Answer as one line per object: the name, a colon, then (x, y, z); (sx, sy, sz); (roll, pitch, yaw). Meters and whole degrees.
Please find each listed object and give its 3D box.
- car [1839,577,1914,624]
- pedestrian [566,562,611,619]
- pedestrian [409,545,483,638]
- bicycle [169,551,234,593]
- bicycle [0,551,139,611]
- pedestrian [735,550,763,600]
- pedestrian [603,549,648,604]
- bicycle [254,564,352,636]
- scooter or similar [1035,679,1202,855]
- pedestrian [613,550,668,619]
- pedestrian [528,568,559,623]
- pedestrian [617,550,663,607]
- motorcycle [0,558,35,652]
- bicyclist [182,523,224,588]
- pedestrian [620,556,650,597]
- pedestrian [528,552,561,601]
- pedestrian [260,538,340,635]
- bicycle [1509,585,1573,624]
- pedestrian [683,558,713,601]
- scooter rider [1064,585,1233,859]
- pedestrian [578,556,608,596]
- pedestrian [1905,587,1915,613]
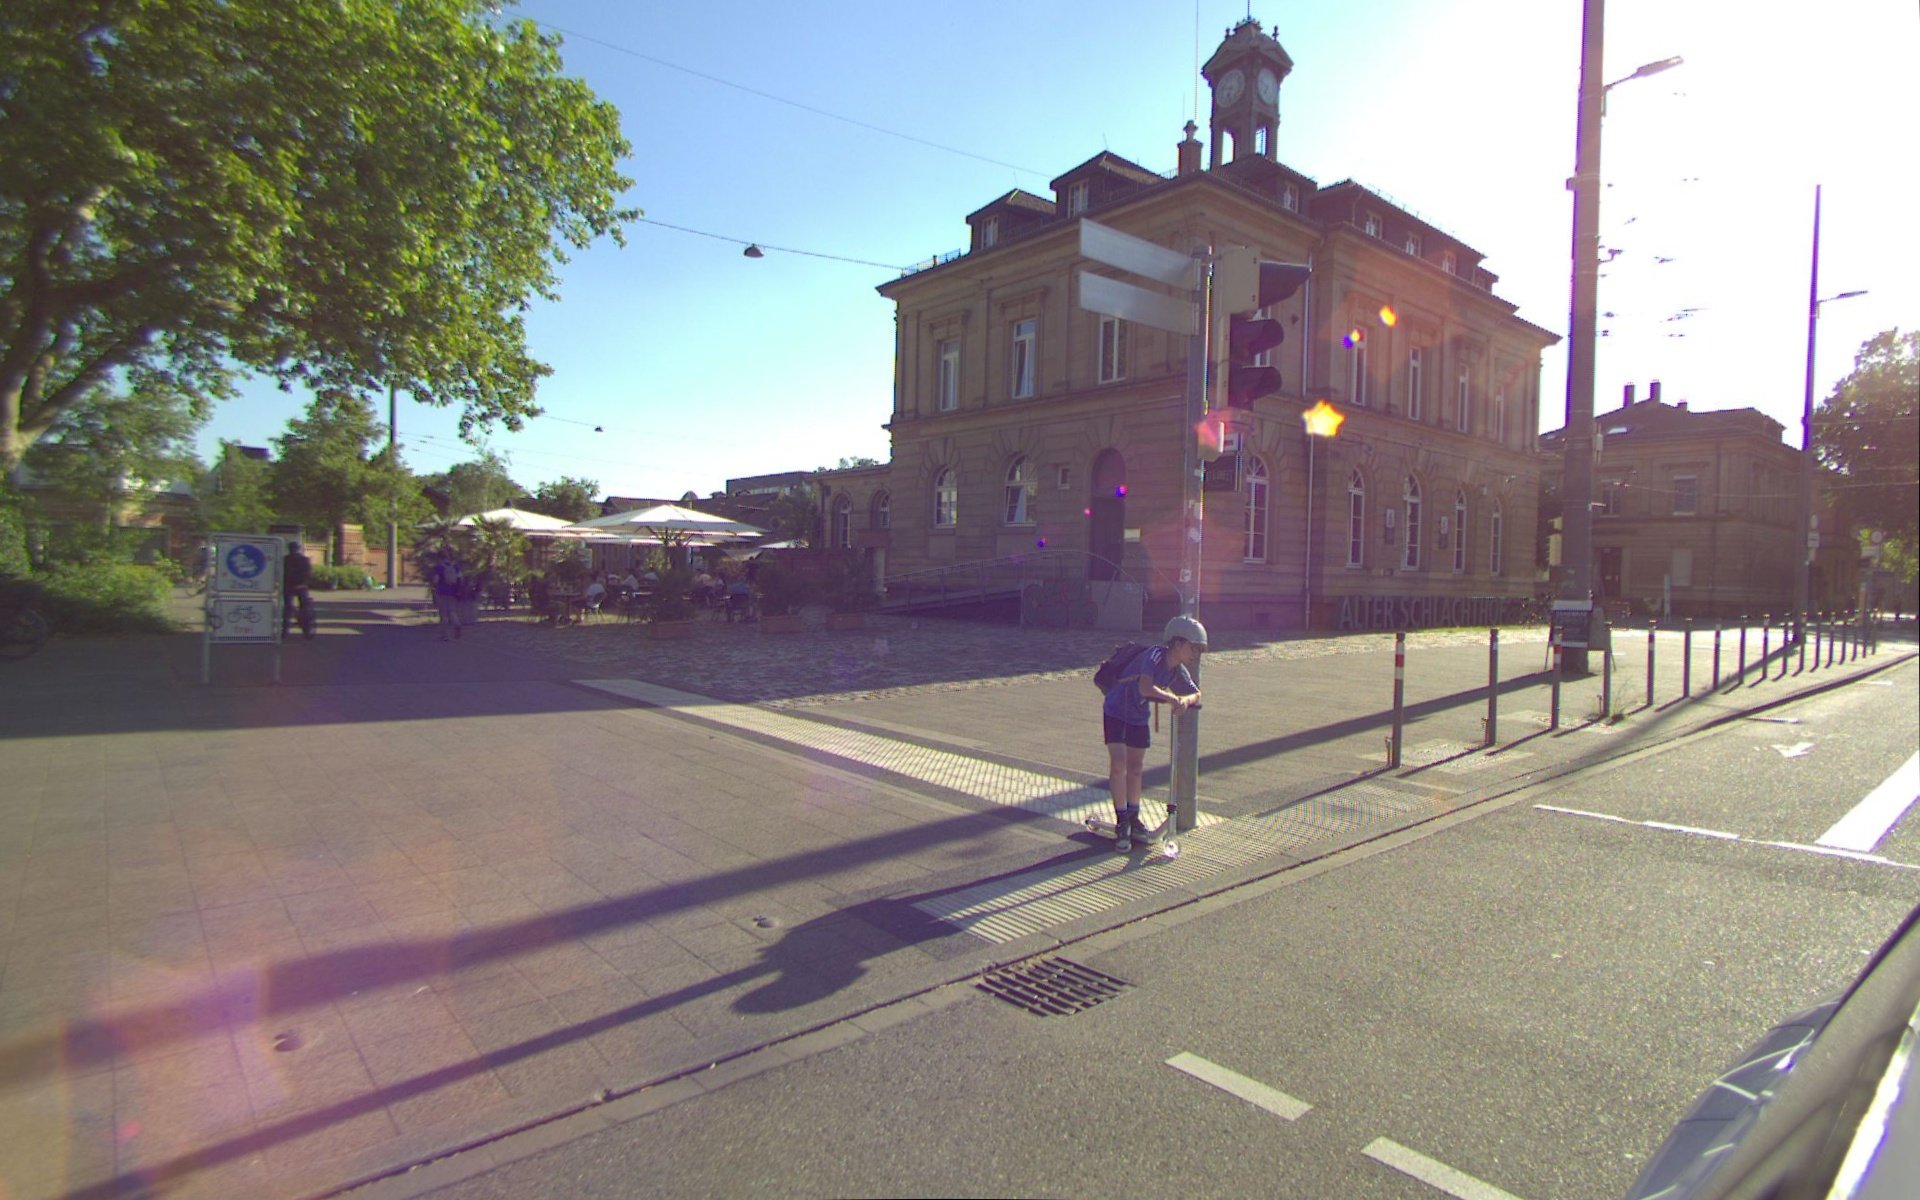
car: (42.746, -0.009, 47.169); (3.925, 2.072, 1.834); (0, 1, -37)
pedestrian: (-9.685, -0.251, 26.369); (0.978, 1.396, 0.775); (1, 3, -27)
pedestrian: (-10.558, -0.187, 20.783); (0.994, 1.810, 1.023); (4, 3, 39)
bicycle: (-24.347, -0.901, 32.460); (2.648, 1.294, 0.773); (1, 1, 32)
bicycle: (-20.268, -0.435, 22.860); (2.625, 1.294, 0.780); (-1, 1, -45)
pedestrian: (-7.808, -0.925, 37.436); (0.653, 1.765, 0.838); (0, 3, -43)
pedestrian: (-11.139, -0.786, 33.747); (0.984, 1.765, 1.034); (3, 3, 13)
bicycle: (-12.591, -0.033, 19.364); (2.655, 1.294, 0.771); (2, 1, 38)
scooter or similar: (0.887, 0.923, 5.835); (0.260, 0.821, 1.023); (1, 2, -39)
pedestrian: (-8.427, -0.423, 26.706); (1.021, 1.766, 0.996); (2, 2, 12)
pedestrian: (-10.640, -0.120, 25.852); (0.641, 1.393, 0.675); (1, 1, -31)
pedestrian: (-10.343, -0.697, 32.729); (0.984, 1.765, 1.034); (3, 3, 13)
motorcycle: (-12.679, 0.048, 12.932); (0.869, 1.174, 2.228); (0, 1, -32)
bicyclist: (-24.231, -1.421, 32.397); (0.982, 2.039, 0.772); (1, 1, 32)
pedestrian: (-12.305, -0.883, 38.314); (0.835, 1.484, 0.656); (4, 3, 37)
pedestrian: (-12.922, -0.726, 31.468); (0.653, 1.484, 0.838); (0, 3, -42)
pedestrian: (-12.684, -0.268, 19.441); (0.994, 1.765, 1.023); (4, 3, 39)
bicycle: (19.228, 0.135, 33.519); (0.678, 1.195, 1.649); (0, 3, -41)
pedestrian: (-9.295, -0.734, 35.886); (0.653, 1.484, 0.838); (0, 3, -42)
scooter rider: (1.065, 0.636, 5.757); (0.589, 1.414, 0.703); (1, 1, -40)
pedestrian: (-13.895, -0.901, 38.302); (0.825, 1.484, 0.663); (0, 3, -44)
pedestrian: (61.847, -0.024, 65.901); (0.383, 1.665, 0.364); (1, 1, -39)
